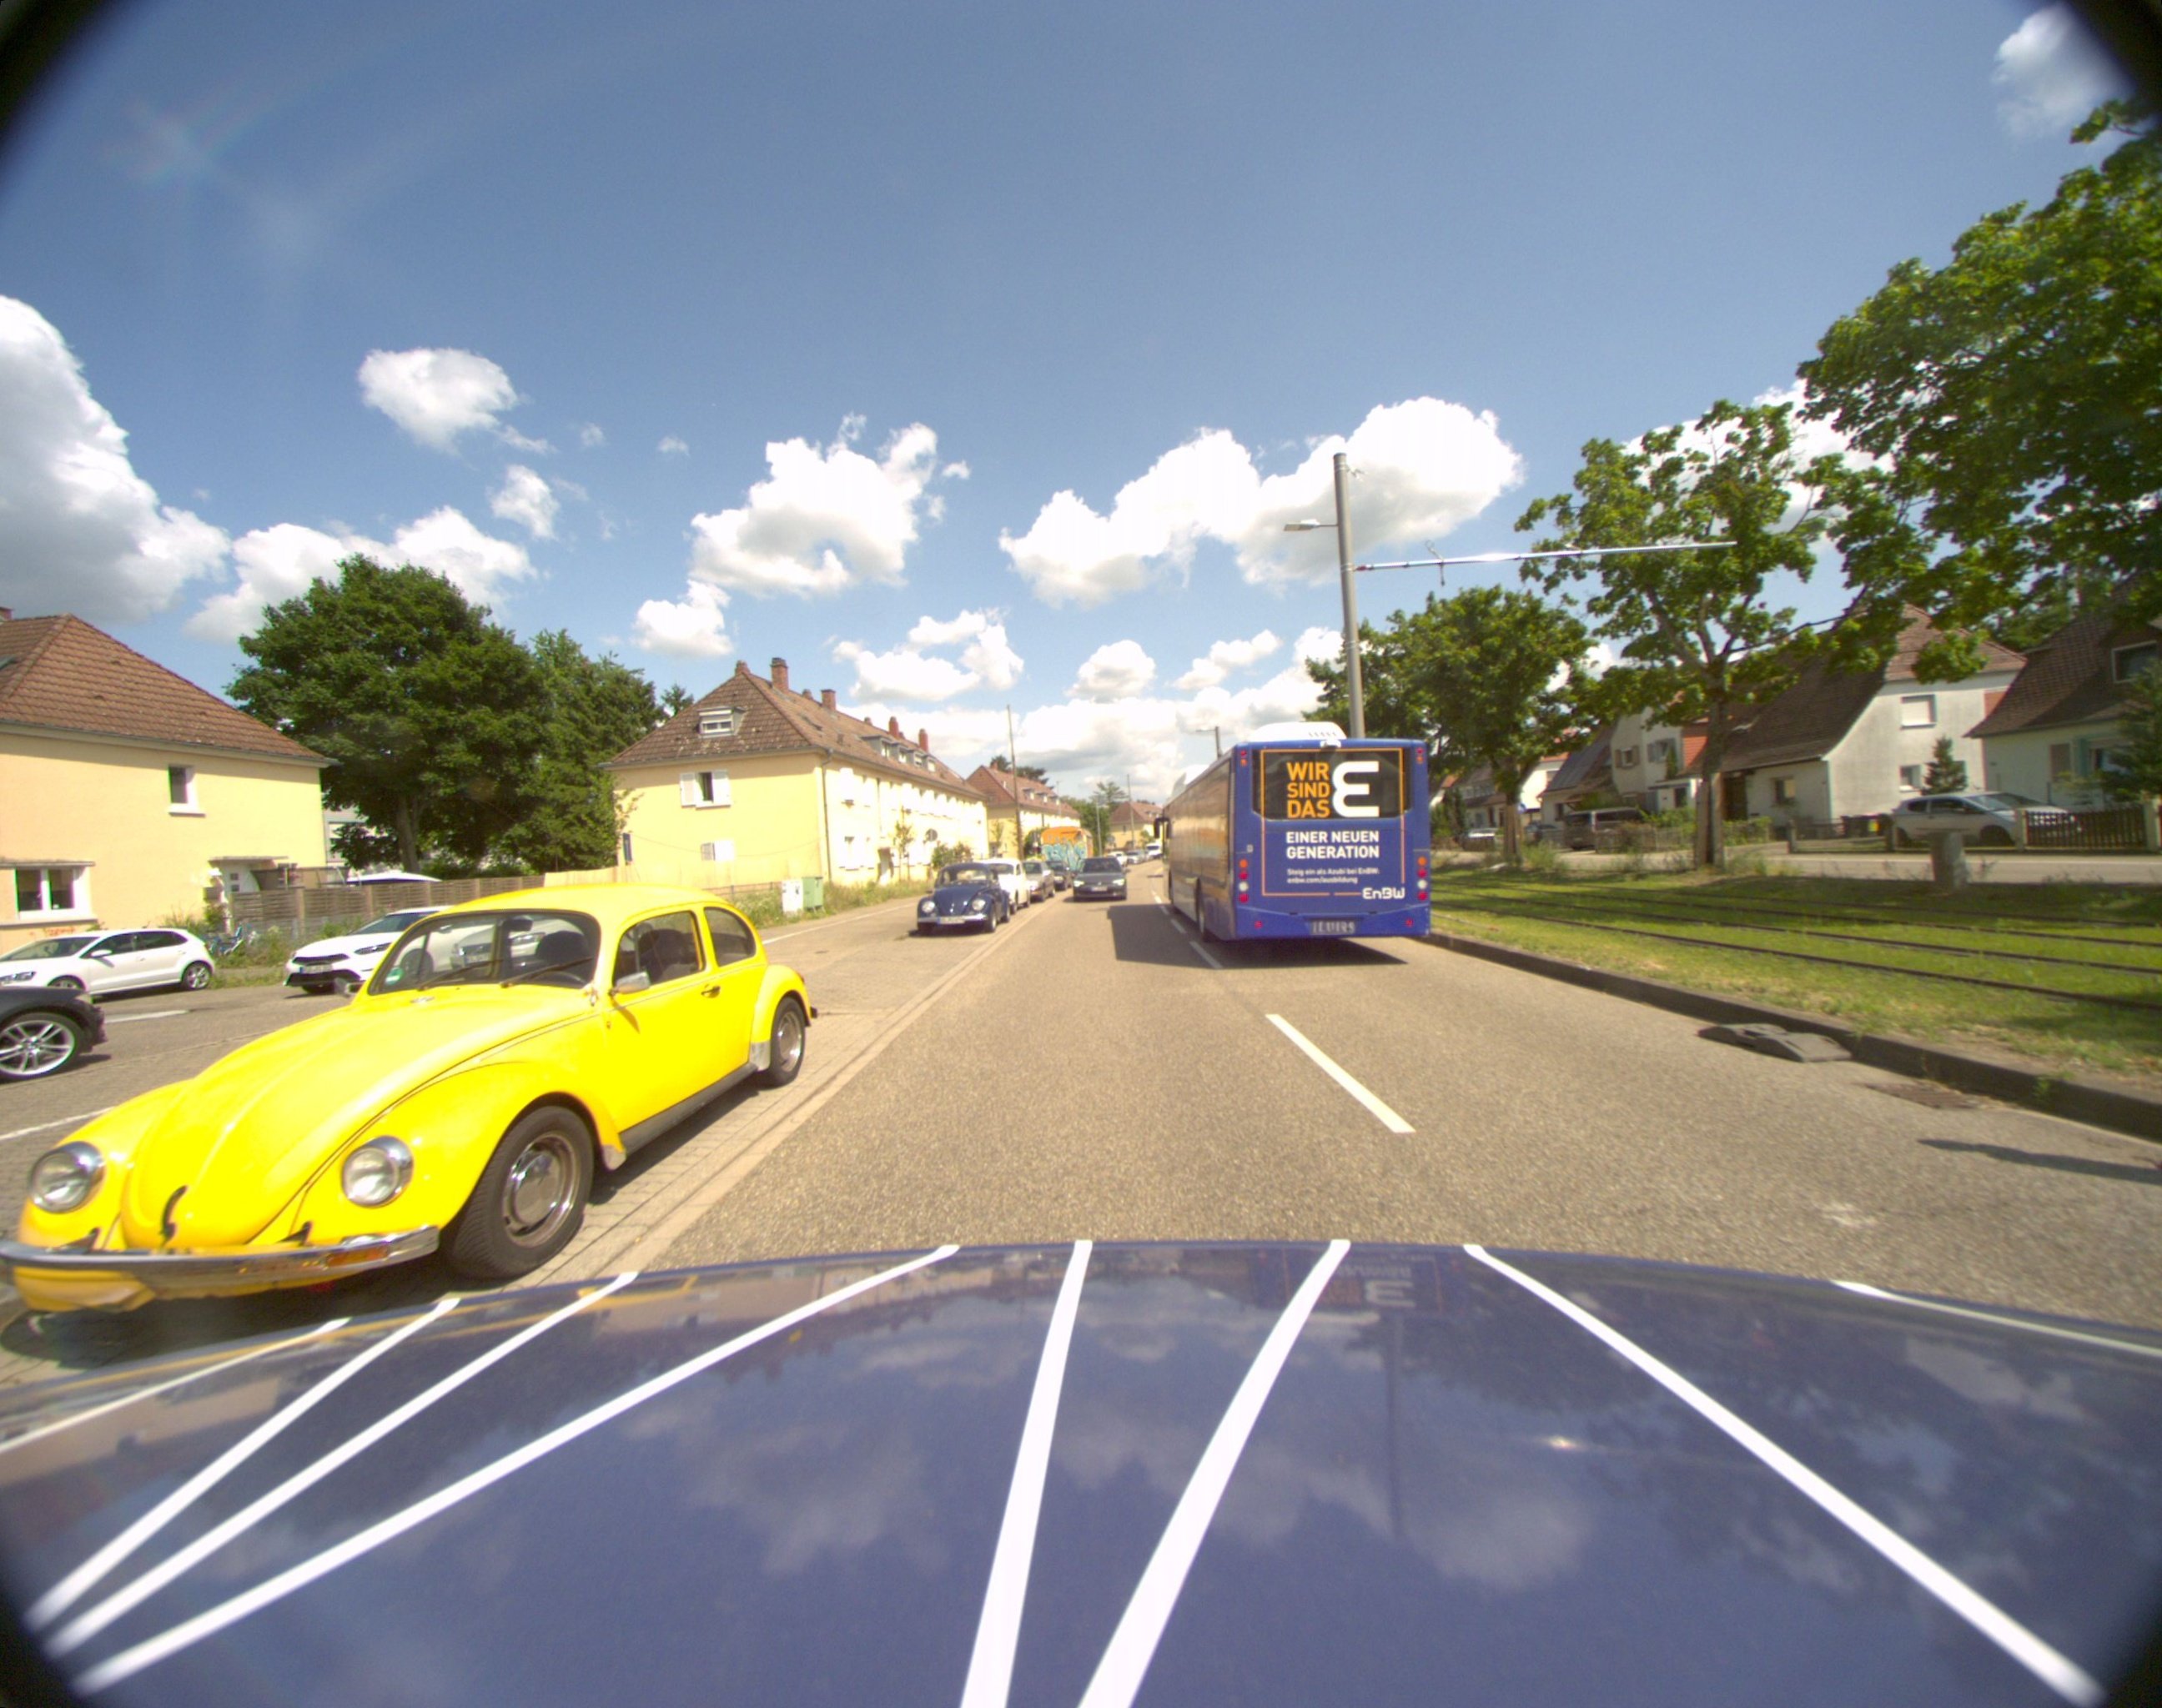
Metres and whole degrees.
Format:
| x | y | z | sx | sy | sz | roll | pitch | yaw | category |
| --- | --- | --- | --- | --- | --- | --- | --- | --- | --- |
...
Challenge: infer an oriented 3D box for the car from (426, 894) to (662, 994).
| x | y | z | sx | sy | sz | roll | pitch | yaw | category |
| --- | --- | --- | --- | --- | --- | --- | --- | --- | --- |
| -10.220 | 1.633 | 14.911 | 1.640 | 1.366 | 4.087 | -4 | 0 | 0 | car |

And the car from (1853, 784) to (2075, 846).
| x | y | z | sx | sy | sz | roll | pitch | yaw | category |
| --- | --- | --- | --- | --- | --- | --- | --- | --- | --- |
| 25.409 | -1.060 | 22.118 | 1.732 | 1.509 | 4.044 | -4 | 0 | 1 | car |

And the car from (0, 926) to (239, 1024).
| x | y | z | sx | sy | sz | roll | pitch | yaw | category |
| --- | --- | --- | --- | --- | --- | --- | --- | --- | --- |
| -19.845 | 2.382 | 15.257 | 1.641 | 1.366 | 4.085 | -5 | 0 | -9 | car |

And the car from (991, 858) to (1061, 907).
| x | y | z | sx | sy | sz | roll | pitch | yaw | category |
| --- | --- | --- | --- | --- | --- | --- | --- | --- | --- |
| -1.856 | 0.931 | 26.987 | 1.710 | 1.441 | 4.836 | -4 | 0 | 4 | car |

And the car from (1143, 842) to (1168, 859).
| x | y | z | sx | sy | sz | roll | pitch | yaw | category |
| --- | --- | --- | --- | --- | --- | --- | --- | --- | --- |
| 10.135 | -0.502 | 102.861 | 2.280 | 2.170 | 6.374 | -3 | 0 | 15 | car |

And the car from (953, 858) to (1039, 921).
| x | y | z | sx | sy | sz | roll | pitch | yaw | category |
| --- | --- | --- | --- | --- | --- | --- | --- | --- | --- |
| -2.332 | 0.937 | 21.910 | 1.581 | 1.504 | 4.460 | -4 | 0 | 4 | car |

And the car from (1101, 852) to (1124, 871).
| x | y | z | sx | sy | sz | roll | pitch | yaw | category |
| --- | --- | --- | --- | --- | --- | --- | --- | --- | --- |
| 2.717 | 0.600 | 64.932 | 1.466 | 1.493 | 4.111 | -3 | 1 | 8 | car |

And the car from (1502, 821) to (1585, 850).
| x | y | z | sx | sy | sz | roll | pitch | yaw | category |
| --- | --- | --- | --- | --- | --- | --- | --- | --- | --- |
| 28.076 | -1.093 | 46.260 | 3.892 | 1.448 | 1.736 | -4 | 0 | 5 | car |

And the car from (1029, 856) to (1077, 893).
| x | y | z | sx | sy | sz | roll | pitch | yaw | category |
| --- | --- | --- | --- | --- | --- | --- | --- | --- | --- |
| -1.214 | 0.899 | 34.693 | 1.581 | 1.441 | 4.454 | -4 | 0 | 4 | car |

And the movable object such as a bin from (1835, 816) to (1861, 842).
| x | y | z | sx | sy | sz | roll | pitch | yaw | category |
| --- | --- | --- | --- | --- | --- | --- | --- | --- | --- |
| 30.012 | -0.966 | 29.728 | 0.452 | 0.971 | 0.500 | -4 | 1 | 6 | movable object such as a bin |

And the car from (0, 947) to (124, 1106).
| x | y | z | sx | sy | sz | roll | pitch | yaw | category |
| --- | --- | --- | --- | --- | --- | --- | --- | --- | --- |
| -10.866 | 1.685 | 5.806 | 1.639 | 1.347 | 4.090 | -3 | 0 | 8 | car |

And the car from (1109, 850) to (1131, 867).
| x | y | z | sx | sy | sz | roll | pitch | yaw | category |
| --- | --- | --- | --- | --- | --- | --- | --- | --- | --- |
| 3.678 | 0.421 | 71.140 | 1.530 | 1.472 | 3.812 | -3 | 1 | 11 | car |

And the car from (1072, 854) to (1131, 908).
| x | y | z | sx | sy | sz | roll | pitch | yaw | category |
| --- | --- | --- | --- | --- | --- | --- | --- | --- | --- |
| 0.776 | 0.826 | 25.678 | 1.742 | 1.513 | 4.702 | -2 | 1 | 4 | car |

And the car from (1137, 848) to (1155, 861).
| x | y | z | sx | sy | sz | roll | pitch | yaw | category |
| --- | --- | --- | --- | --- | --- | --- | --- | --- | --- |
| 8.032 | 0.036 | 93.684 | 1.710 | 1.495 | 4.258 | -3 | 0 | 11 | car |

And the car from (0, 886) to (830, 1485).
| x | y | z | sx | sy | sz | roll | pitch | yaw | category |
| --- | --- | --- | --- | --- | --- | --- | --- | --- | --- |
| -2.834 | 0.983 | 4.012 | 1.640 | 1.473 | 3.932 | -1 | 0 | 1 | car |

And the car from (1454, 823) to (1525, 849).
| x | y | z | sx | sy | sz | roll | pitch | yaw | category |
| --- | --- | --- | --- | --- | --- | --- | --- | --- | --- |
| 29.434 | -1.292 | 54.866 | 3.995 | 1.521 | 1.874 | -4 | 0 | 5 | car |

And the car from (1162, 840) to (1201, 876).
| x | y | z | sx | sy | sz | roll | pitch | yaw | category |
| --- | --- | --- | --- | --- | --- | --- | --- | --- | --- |
| 6.065 | 0.219 | 46.282 | 1.960 | 1.955 | 5.294 | -3 | 0 | 4 | car |

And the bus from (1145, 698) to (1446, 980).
| x | y | z | sx | sy | sz | roll | pitch | yaw | category |
| --- | --- | --- | --- | --- | --- | --- | --- | --- | --- |
| 3.174 | -0.189 | 15.533 | 2.643 | 3.392 | 12.248 | -2 | 0 | 0 | bus |

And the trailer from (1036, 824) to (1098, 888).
| x | y | z | sx | sy | sz | roll | pitch | yaw | category |
| --- | --- | --- | --- | --- | --- | --- | --- | --- | --- |
| -0.700 | 0.066 | 42.623 | 2.696 | 3.208 | 5.083 | -4 | 0 | 5 | trailer |

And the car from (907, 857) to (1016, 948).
| x | y | z | sx | sy | sz | roll | pitch | yaw | category |
| --- | --- | --- | --- | --- | --- | --- | --- | --- | --- |
| -2.489 | 0.939 | 16.767 | 1.552 | 1.631 | 4.246 | -4 | 0 | 1 | car |

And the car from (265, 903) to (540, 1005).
| x | y | z | sx | sy | sz | roll | pitch | yaw | category |
| --- | --- | --- | --- | --- | --- | --- | --- | --- | --- |
| -12.883 | 1.814 | 14.846 | 1.640 | 1.366 | 4.087 | -4 | 0 | 0 | car |

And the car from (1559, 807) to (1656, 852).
| x | y | z | sx | sy | sz | roll | pitch | yaw | category |
| --- | --- | --- | --- | --- | --- | --- | --- | --- | --- |
| 27.026 | -1.250 | 39.040 | 3.897 | 1.886 | 1.941 | -6 | 1 | -14 | car |

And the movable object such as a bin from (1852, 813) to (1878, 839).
| x | y | z | sx | sy | sz | roll | pitch | yaw | category |
| --- | --- | --- | --- | --- | --- | --- | --- | --- | --- |
| 30.473 | -1.086 | 29.535 | 0.452 | 0.971 | 0.500 | -4 | 1 | 6 | movable object such as a bin |

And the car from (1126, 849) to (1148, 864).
| x | y | z | sx | sy | sz | roll | pitch | yaw | category |
| --- | --- | --- | --- | --- | --- | --- | --- | --- | --- |
| 6.103 | 0.238 | 82.023 | 1.753 | 1.489 | 4.389 | -3 | 0 | 11 | car |
